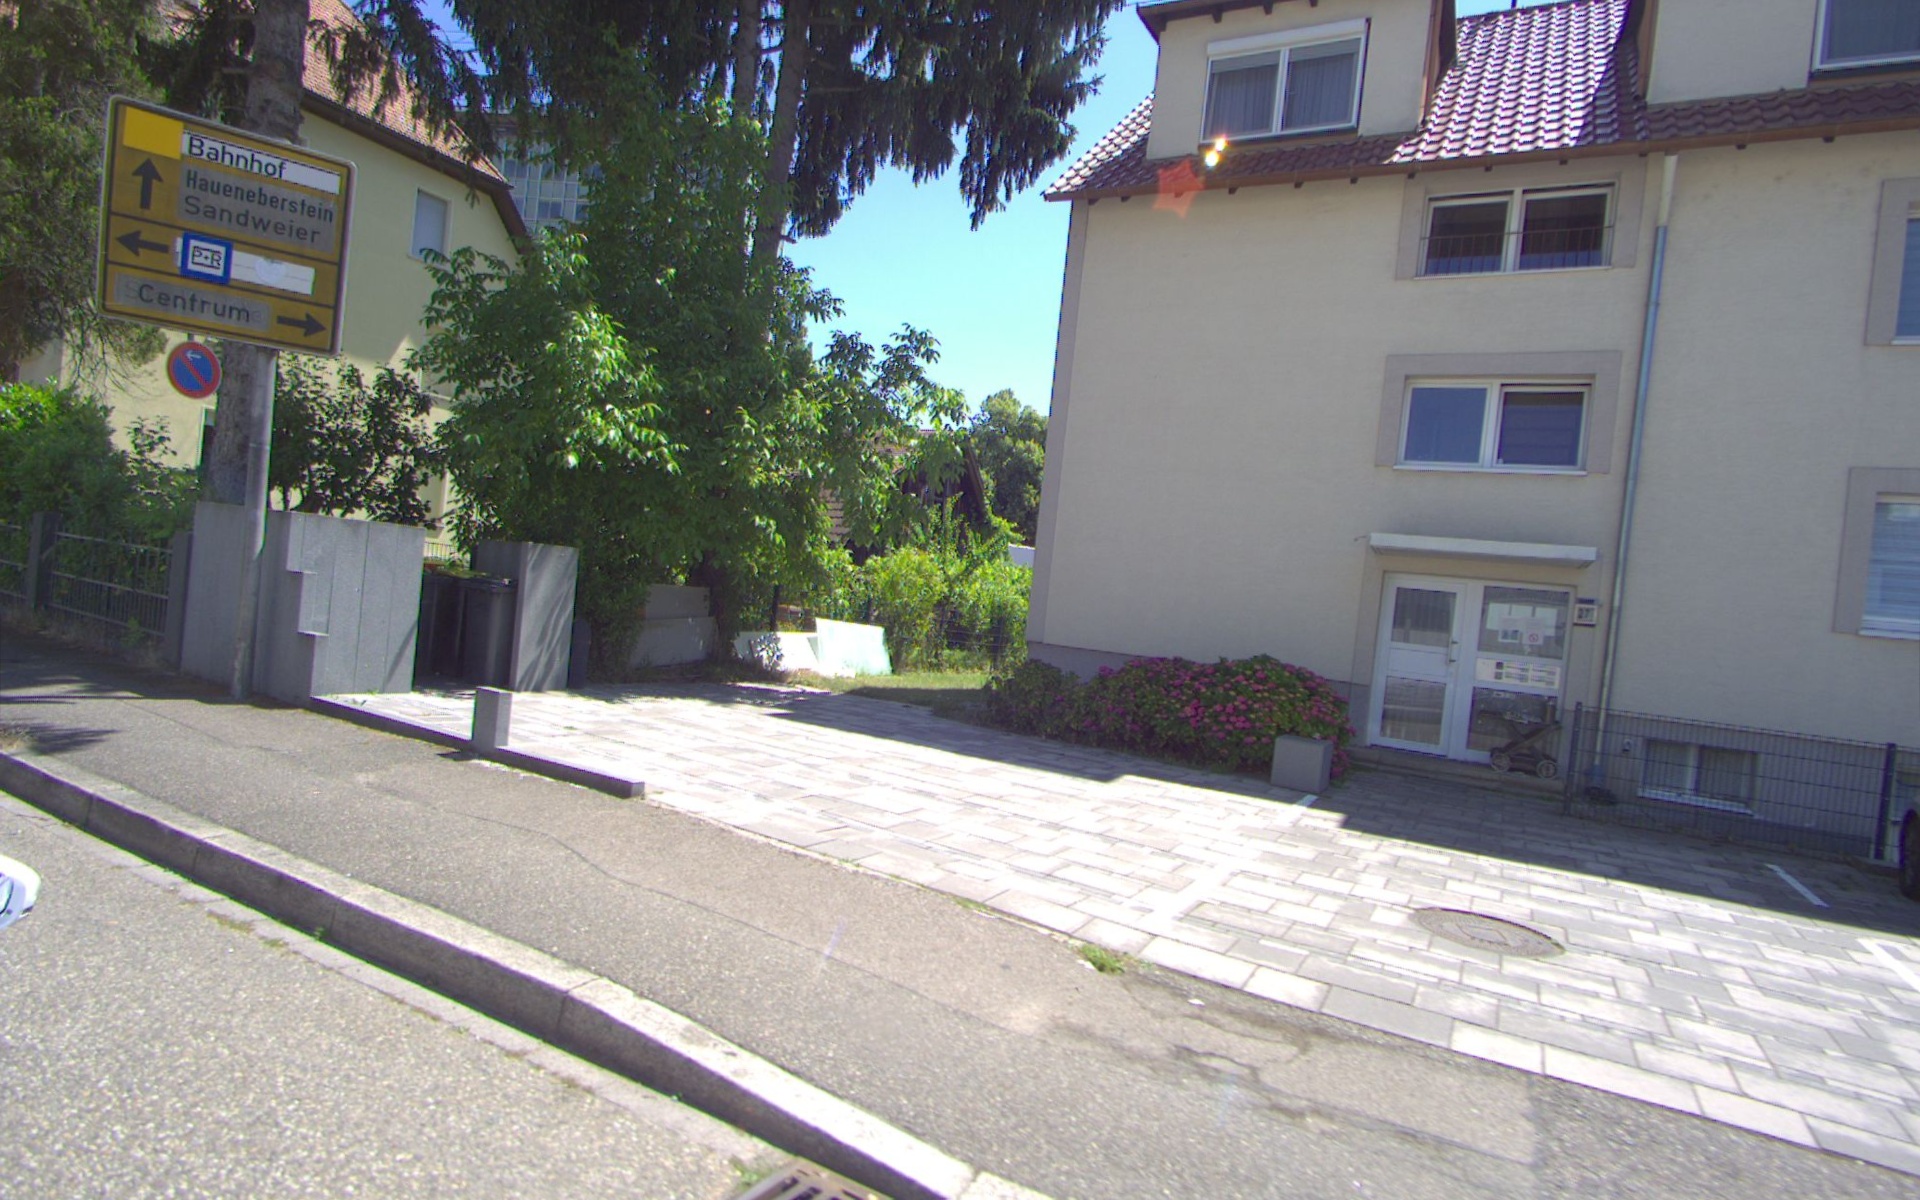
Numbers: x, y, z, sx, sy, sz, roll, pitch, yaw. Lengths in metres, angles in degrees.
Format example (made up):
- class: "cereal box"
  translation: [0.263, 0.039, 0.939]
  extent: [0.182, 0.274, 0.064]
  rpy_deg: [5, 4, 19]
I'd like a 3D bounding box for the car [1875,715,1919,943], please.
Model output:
- class: "car"
  translation: [6.930, 1.526, 5.699]
  extent: [1.748, 1.547, 3.628]
  rpy_deg: [5, -3, 30]
